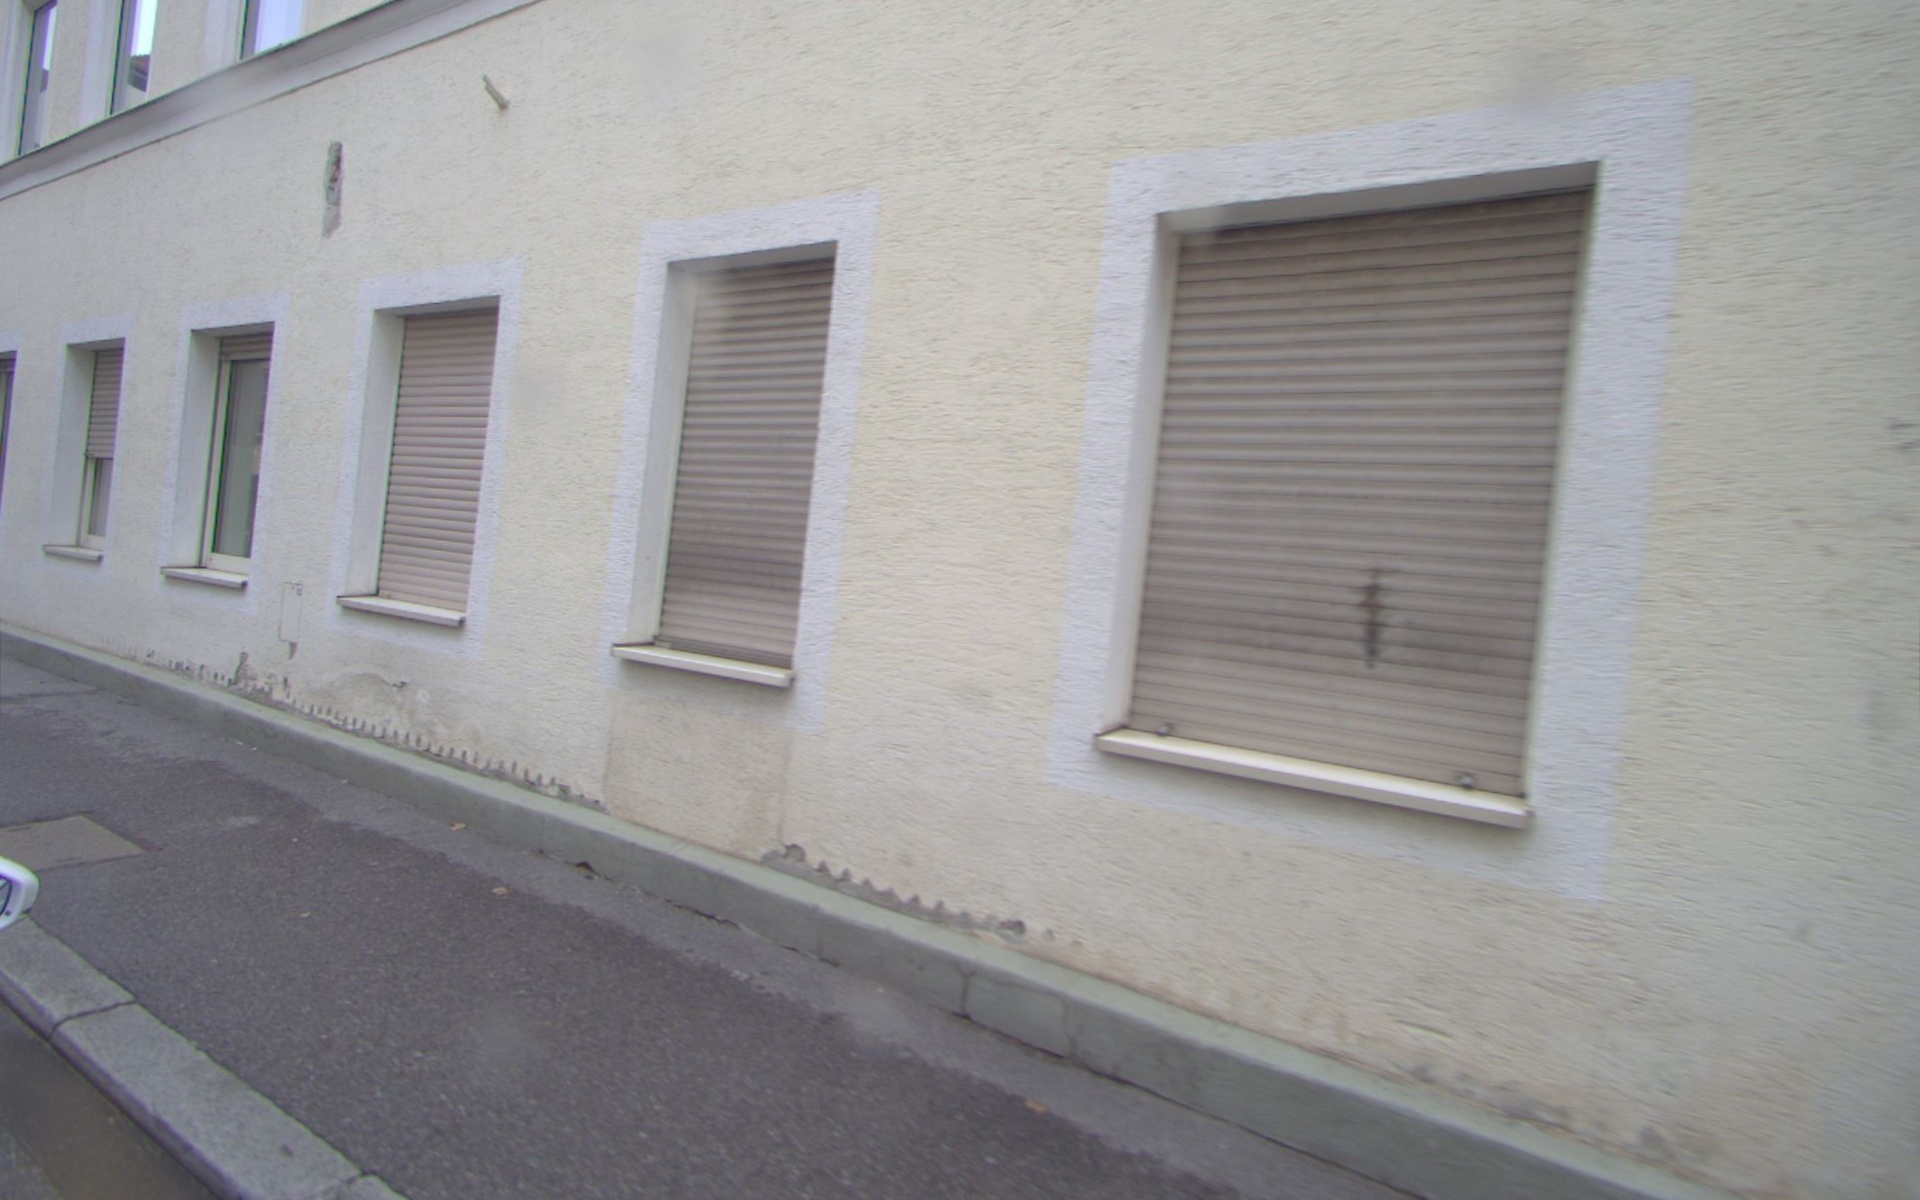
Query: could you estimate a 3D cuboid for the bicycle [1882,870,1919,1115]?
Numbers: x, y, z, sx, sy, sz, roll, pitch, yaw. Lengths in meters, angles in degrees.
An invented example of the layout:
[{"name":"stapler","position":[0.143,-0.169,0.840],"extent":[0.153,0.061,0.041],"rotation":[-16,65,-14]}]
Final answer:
[{"name":"bicycle","position":[3.503,1.252,3.043],"extent":[0.576,1.159,1.759],"rotation":[10,2,32]}]
